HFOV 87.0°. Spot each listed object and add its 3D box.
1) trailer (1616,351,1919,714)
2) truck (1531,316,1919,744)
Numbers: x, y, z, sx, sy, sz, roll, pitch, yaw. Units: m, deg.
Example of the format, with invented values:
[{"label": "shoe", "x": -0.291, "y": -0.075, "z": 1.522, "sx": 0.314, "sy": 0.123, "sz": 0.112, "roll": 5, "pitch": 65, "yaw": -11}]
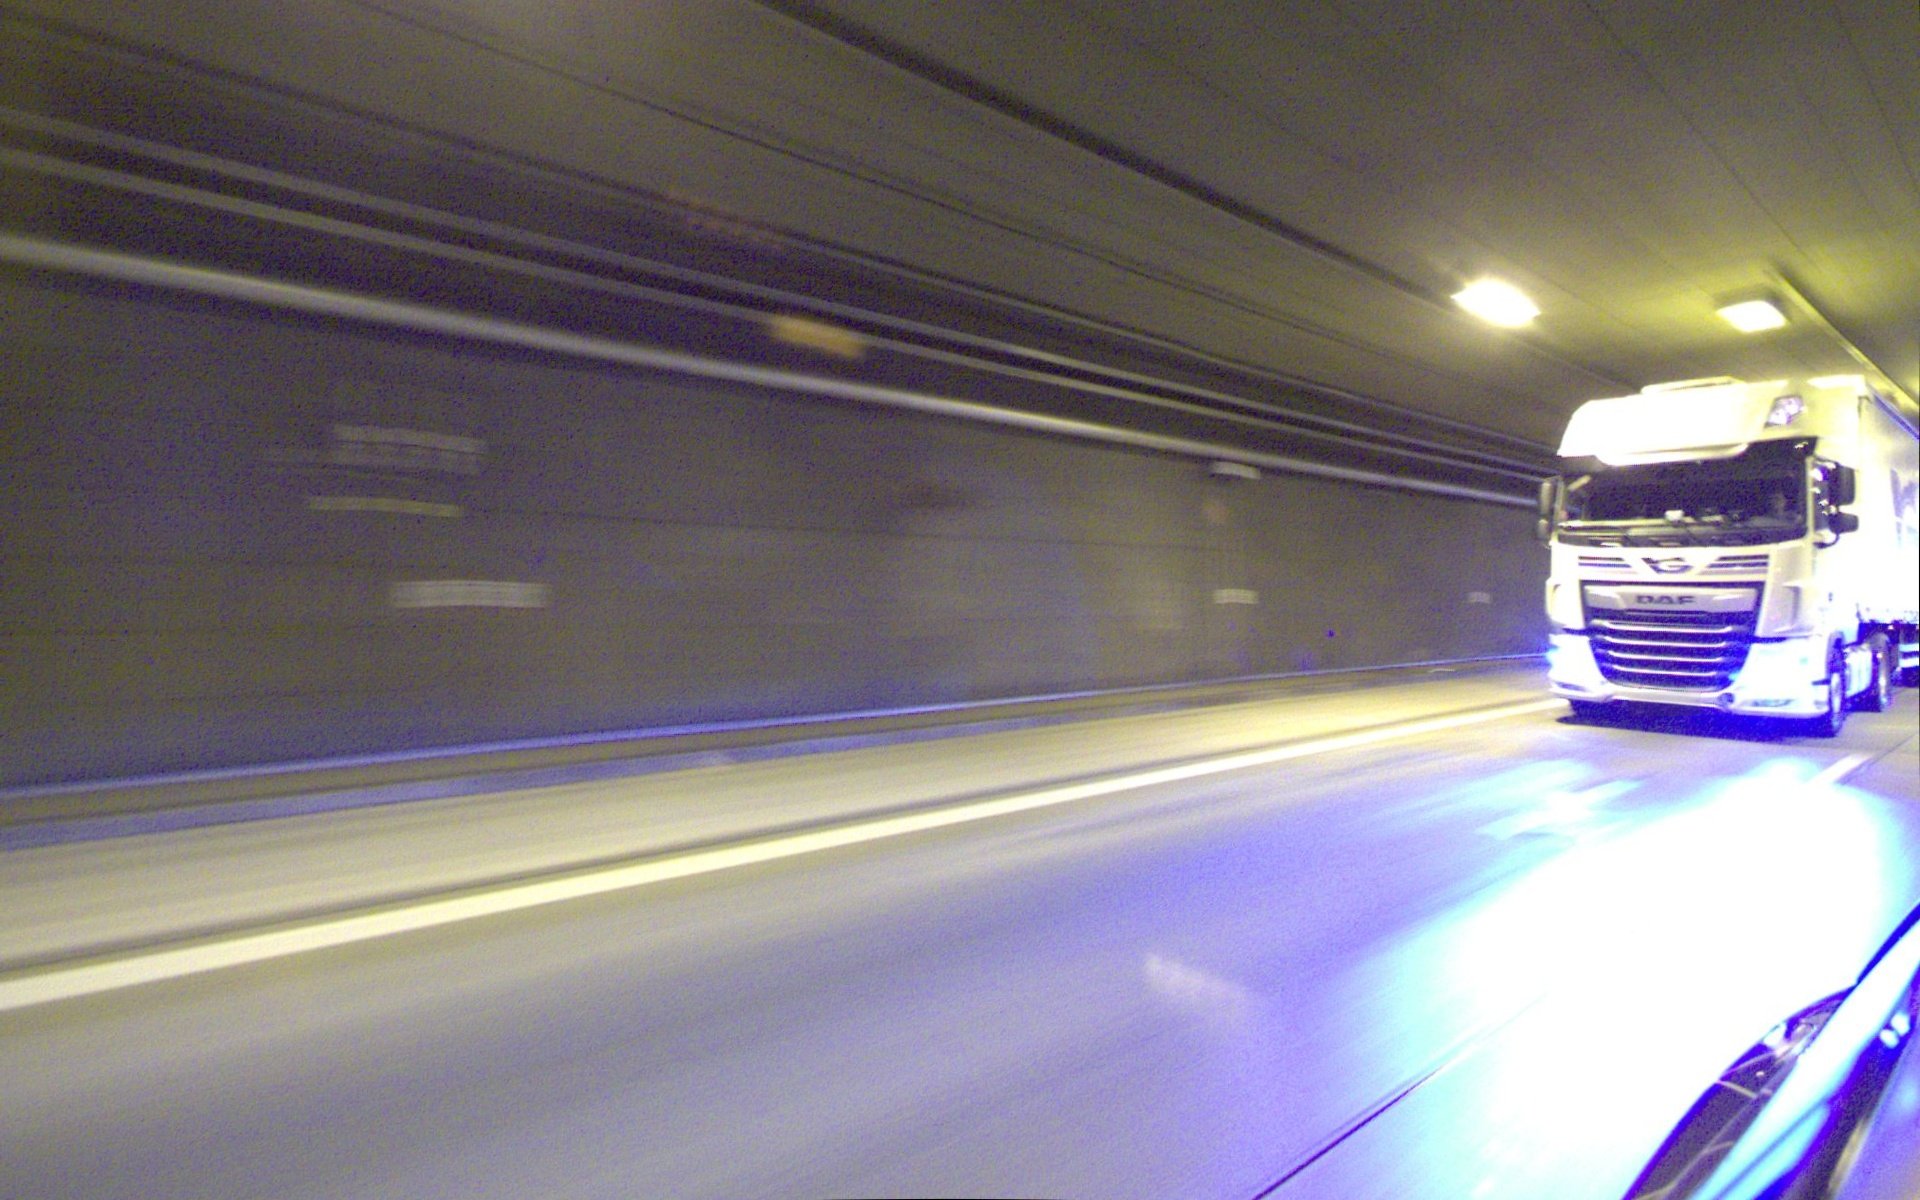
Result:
[{"label": "trailer", "x": 15.085, "y": -0.809, "z": 17.188, "sx": 13.752, "sy": 4.216, "sz": 2.625, "roll": 0, "pitch": -1, "yaw": -40}, {"label": "truck", "x": 9.914, "y": -0.708, "z": 12.872, "sx": 5.897, "sy": 4.216, "sz": 2.652, "roll": 0, "pitch": 0, "yaw": -39}]
